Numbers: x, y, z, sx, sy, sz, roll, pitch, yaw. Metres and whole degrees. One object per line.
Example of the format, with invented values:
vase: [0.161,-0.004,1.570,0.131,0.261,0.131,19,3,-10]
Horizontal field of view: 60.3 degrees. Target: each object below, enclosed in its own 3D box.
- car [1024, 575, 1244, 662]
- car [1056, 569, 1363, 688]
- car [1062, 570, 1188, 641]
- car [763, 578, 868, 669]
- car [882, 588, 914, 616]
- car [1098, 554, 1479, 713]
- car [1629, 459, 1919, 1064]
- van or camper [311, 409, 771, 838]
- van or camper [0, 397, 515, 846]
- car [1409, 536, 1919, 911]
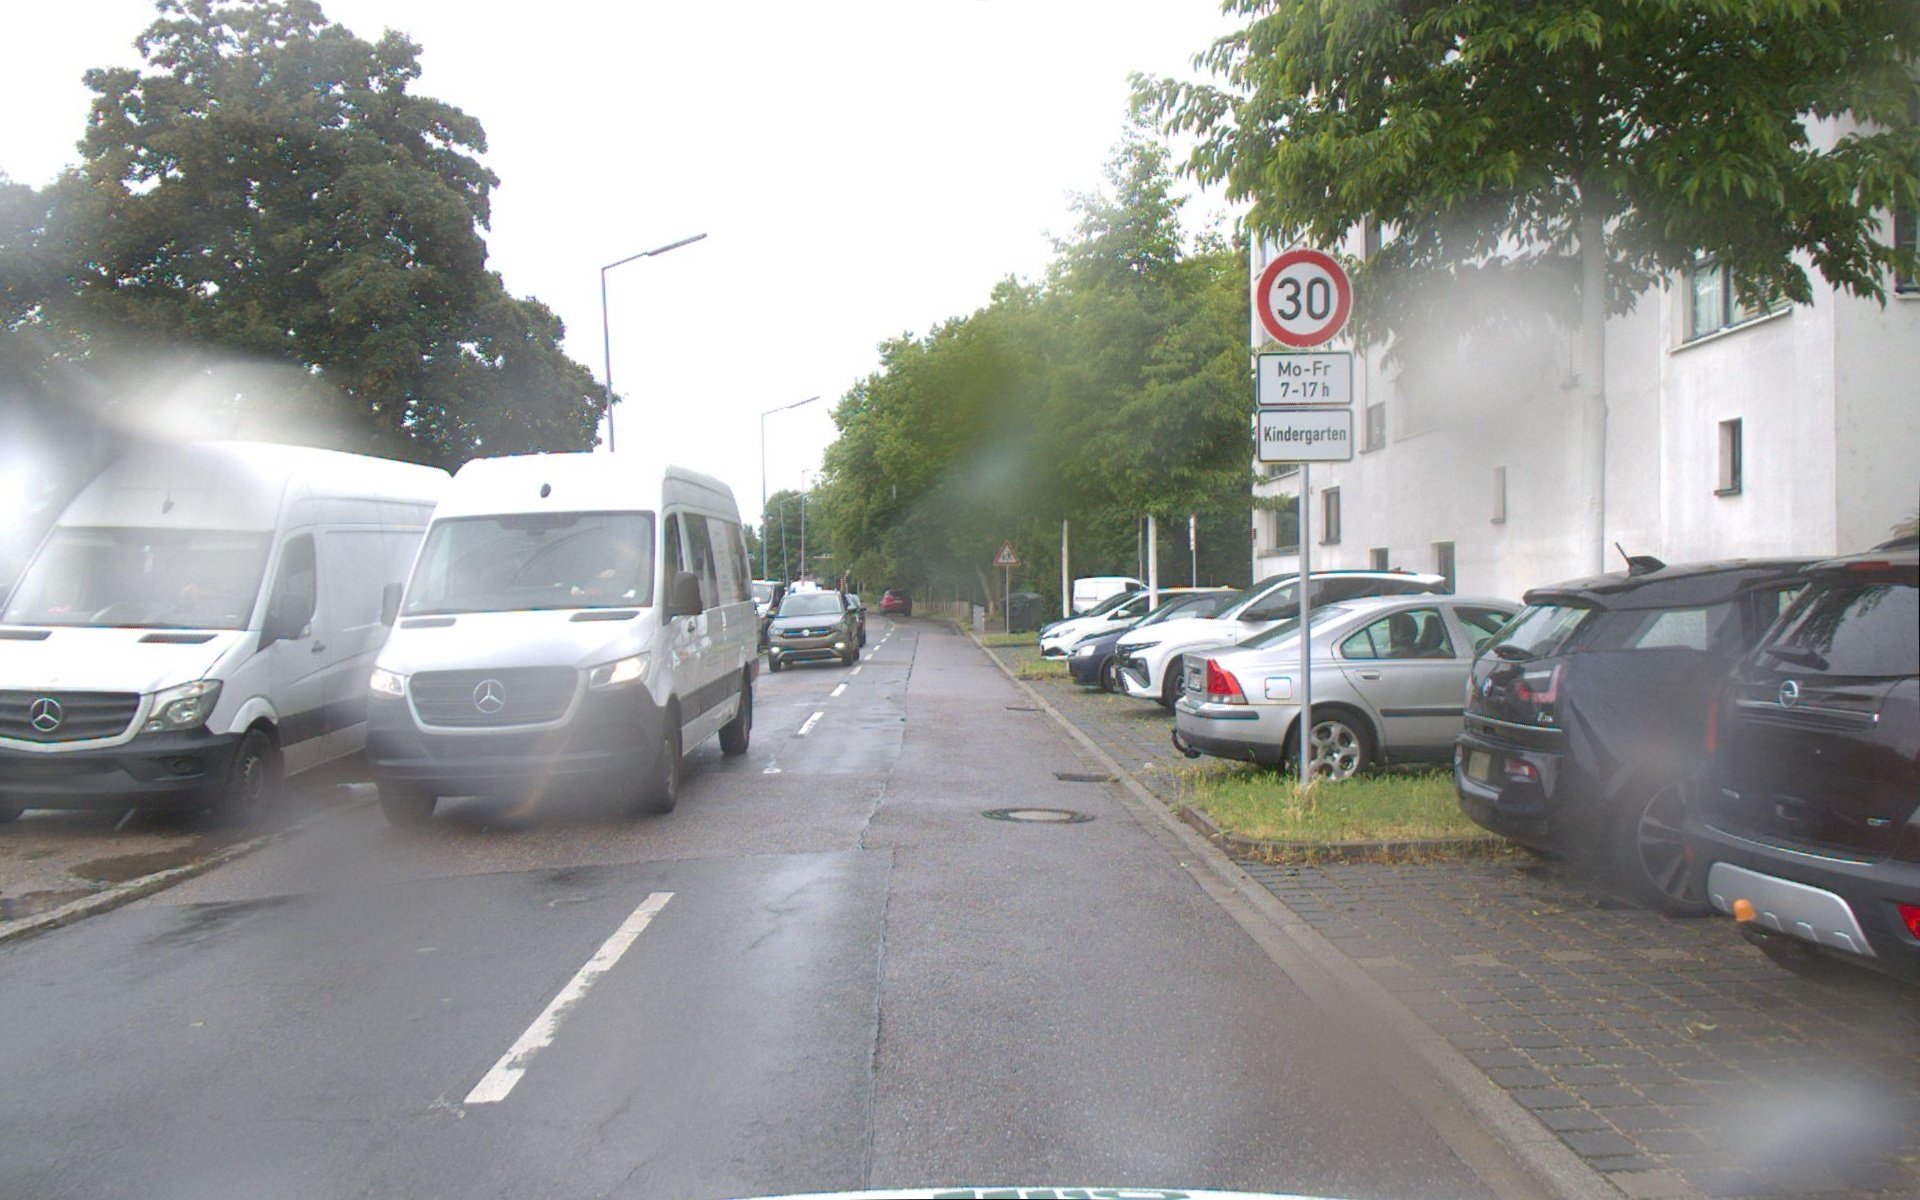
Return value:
car: [3.413,0.343,32.814,4.015,1.602,1.864,-1,0,-8]
car: [3.693,0.406,25.045,4.299,1.662,2.005,-1,0,-2]
car: [5.567,0.159,55.779,3.904,2.333,1.777,0,0,19]
car: [-3.015,0.457,35.245,1.843,1.788,4.068,-1,0,0]
car: [-3.911,0.117,105.265,1.720,1.735,4.001,-1,0,1]
car: [3.977,0.378,20.549,4.299,1.807,2.005,-1,0,-2]
car: [4.529,0.434,5.575,3.808,1.711,1.861,-1,1,-7]
van or camper: [-2.946,0.110,13.623,1.953,2.541,7.177,-2,0,-1]
van or camper: [-5.865,0.110,14.352,1.953,2.810,7.897,1,0,-1]
car: [4.472,0.515,8.417,3.808,1.628,1.861,-1,0,-7]
